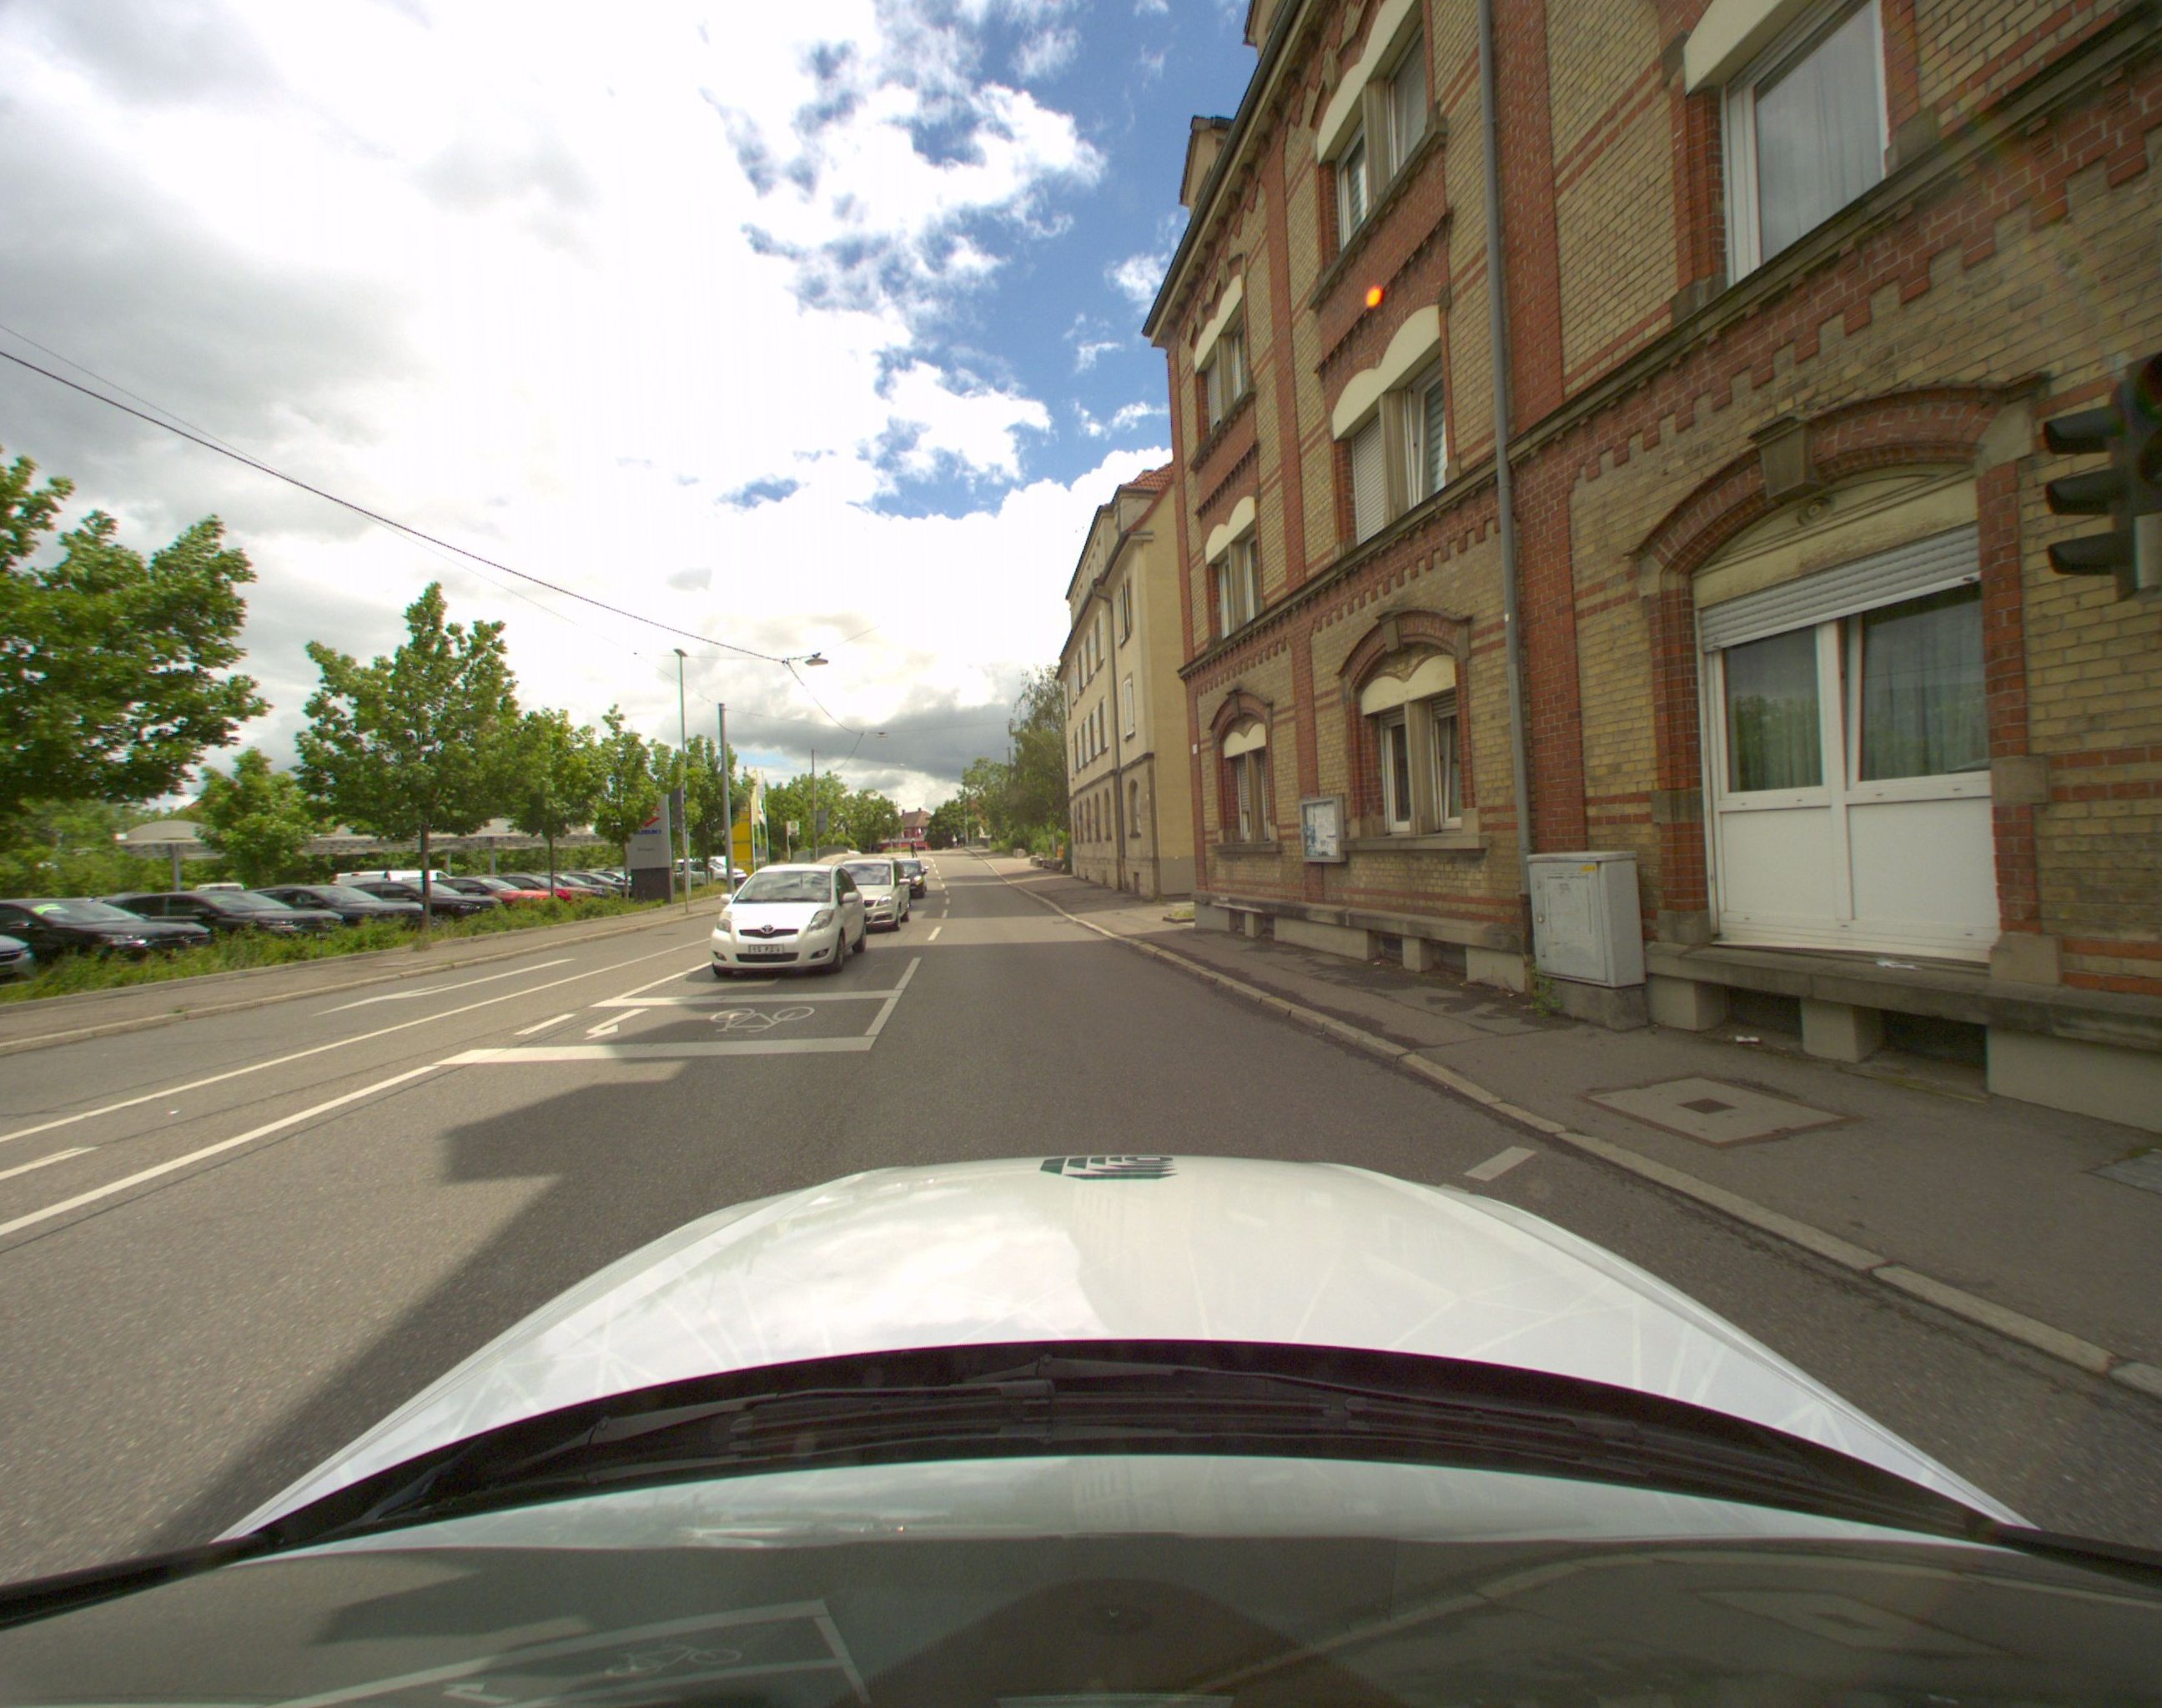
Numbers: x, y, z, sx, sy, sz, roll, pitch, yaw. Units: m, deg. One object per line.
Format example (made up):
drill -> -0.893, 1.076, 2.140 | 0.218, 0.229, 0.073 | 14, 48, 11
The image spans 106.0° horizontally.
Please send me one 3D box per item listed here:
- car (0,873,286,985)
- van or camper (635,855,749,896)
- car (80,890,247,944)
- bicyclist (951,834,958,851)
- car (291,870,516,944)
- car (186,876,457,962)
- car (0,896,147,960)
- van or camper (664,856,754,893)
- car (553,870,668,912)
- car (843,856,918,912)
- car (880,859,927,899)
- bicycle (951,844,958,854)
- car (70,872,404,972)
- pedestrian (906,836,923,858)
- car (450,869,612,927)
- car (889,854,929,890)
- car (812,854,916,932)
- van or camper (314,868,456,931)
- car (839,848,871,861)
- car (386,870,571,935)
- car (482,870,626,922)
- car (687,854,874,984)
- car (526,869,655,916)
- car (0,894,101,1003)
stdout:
car -> -16.326, 1.230, 13.439 | 4.207, 1.497, 1.806 | -3, 1, -10
van or camper -> -19.423, 1.053, 40.846 | 4.663, 1.749, 1.996 | -3, 1, -6
car -> -29.971, 2.029, 26.711 | 3.317, 1.373, 1.512 | -3, 1, -11
bicyclist -> -14.775, -1.319, 95.018 | 0.684, 1.826, 1.078 | -2, -4, -7
car -> -17.340, 1.312, 21.058 | 3.982, 1.497, 1.806 | -3, 1, -11
car -> -17.027, 1.407, 18.484 | 4.055, 1.497, 1.806 | -3, 1, -10
car -> -27.146, 1.951, 21.268 | 3.317, 1.373, 1.512 | -3, 1, -11
van or camper -> -22.685, 1.224, 49.882 | 1.966, 1.963, 4.986 | -1, 1, 22
car -> -19.373, 1.488, 33.733 | 3.706, 1.409, 1.786 | -4, 1, -16
car -> -6.160, 0.886, 25.449 | 1.717, 1.581, 4.240 | -1, -1, -7
car -> -7.017, 0.961, 32.412 | 1.720, 1.484, 3.309 | -1, -1, -11
bicycle -> -14.753, -0.579, 94.970 | 0.687, 0.878, 2.096 | -2, -4, -6
car -> -16.553, 1.278, 16.225 | 4.279, 1.497, 1.806 | -3, 1, -10
pedestrian -> -14.291, -0.582, 69.989 | 1.026, 1.836, 1.003 | -1, 1, 12
car -> -17.722, 1.369, 26.415 | 3.851, 1.497, 1.805 | -3, 1, -12
car -> -8.072, 0.818, 38.399 | 1.720, 1.581, 3.984 | -1, -1, -11
car -> -4.920, 0.836, 18.965 | 1.717, 1.581, 4.308 | -1, -1, -7
van or camper -> -26.865, 1.670, 31.704 | 1.994, 2.013, 4.669 | -3, 1, -10
car -> -32.355, 0.041, 116.614 | 4.429, 1.831, 1.988 | 1, -1, -18
car -> -17.429, 1.368, 23.757 | 3.828, 1.497, 1.806 | -3, 1, -11
car -> -18.590, 1.446, 28.926 | 3.819, 1.497, 1.804 | -3, 1, -14
car -> -4.267, 0.833, 12.203 | 1.717, 1.581, 3.990 | -1, -1, -7
car -> -18.885, 1.467, 31.531 | 3.837, 1.461, 1.765 | -3, 1, -13
car -> -16.623, 1.419, 11.022 | 4.063, 1.394, 1.808 | -3, 1, -7
